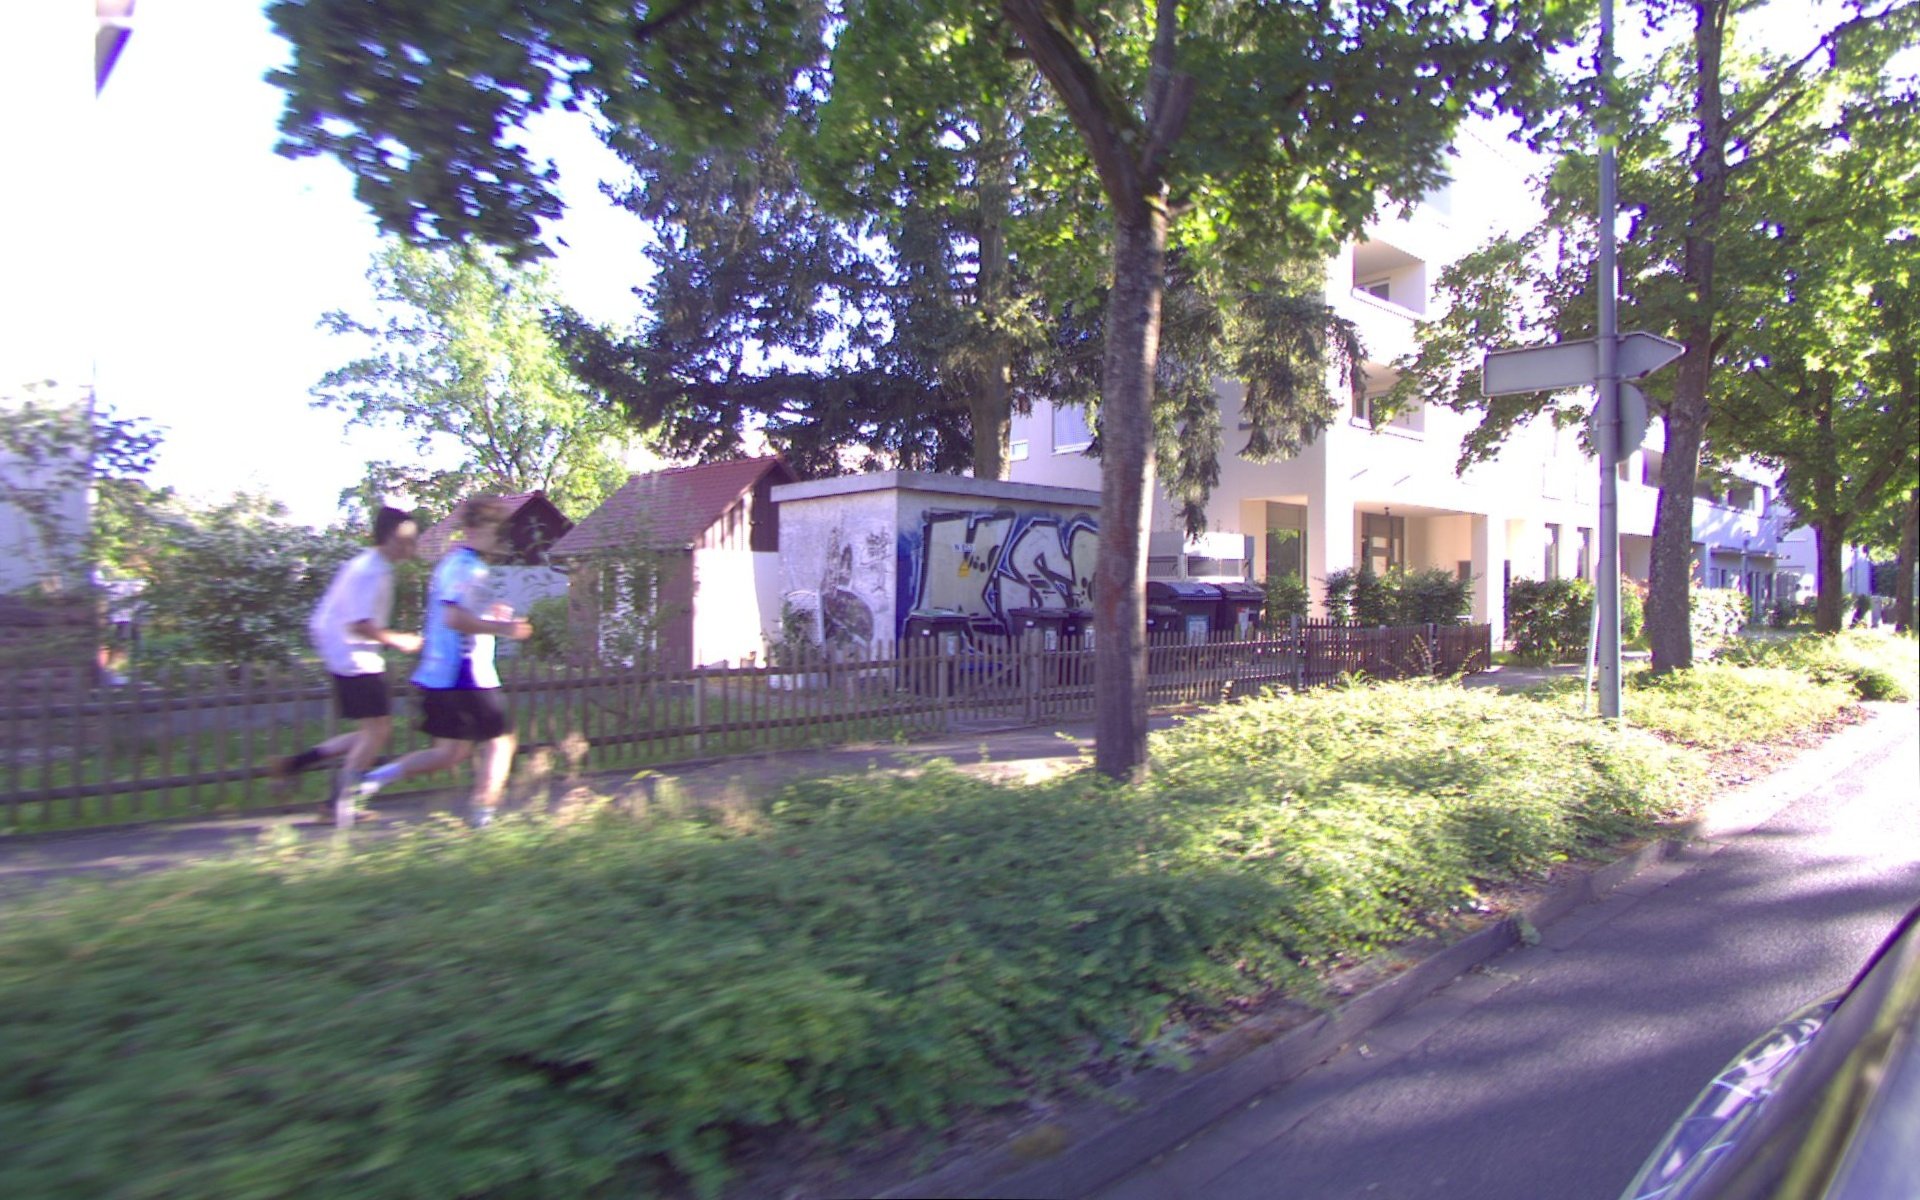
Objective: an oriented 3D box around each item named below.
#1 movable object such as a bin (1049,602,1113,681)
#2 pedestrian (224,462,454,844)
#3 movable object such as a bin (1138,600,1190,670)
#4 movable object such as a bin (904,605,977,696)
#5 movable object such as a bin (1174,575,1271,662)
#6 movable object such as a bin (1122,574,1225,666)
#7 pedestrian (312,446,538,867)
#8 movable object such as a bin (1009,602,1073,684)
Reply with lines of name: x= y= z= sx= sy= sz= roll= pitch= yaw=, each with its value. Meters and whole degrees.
movable object such as a bin: x=1.694 y=0.571 z=14.175 sx=0.630 sy=1.042 sz=0.607 roll=-1 pitch=2 yaw=-42
pedestrian: x=-3.470 y=0.262 z=5.668 sx=1.001 sy=1.918 sz=0.643 roll=-1 pitch=-1 yaw=-41
movable object such as a bin: x=3.170 y=0.530 z=15.741 sx=0.604 sy=1.042 sz=0.538 roll=-1 pitch=2 yaw=-42
movable object such as a bin: x=-0.242 y=0.602 z=12.461 sx=0.634 sy=1.042 sz=0.644 roll=-1 pitch=2 yaw=-42
movable object such as a bin: x=4.620 y=0.290 z=17.813 sx=1.343 sy=1.444 sz=1.080 roll=-1 pitch=2 yaw=-42
movable object such as a bin: x=3.553 y=0.298 z=16.845 sx=1.364 sy=1.448 sz=1.080 roll=-1 pitch=2 yaw=-42
pedestrian: x=-2.724 y=0.254 z=5.155 sx=0.879 sy=1.918 sz=0.674 roll=-1 pitch=-1 yaw=-41
movable object such as a bin: x=1.087 y=0.559 z=13.641 sx=0.584 sy=1.042 sz=0.615 roll=-1 pitch=2 yaw=-42
